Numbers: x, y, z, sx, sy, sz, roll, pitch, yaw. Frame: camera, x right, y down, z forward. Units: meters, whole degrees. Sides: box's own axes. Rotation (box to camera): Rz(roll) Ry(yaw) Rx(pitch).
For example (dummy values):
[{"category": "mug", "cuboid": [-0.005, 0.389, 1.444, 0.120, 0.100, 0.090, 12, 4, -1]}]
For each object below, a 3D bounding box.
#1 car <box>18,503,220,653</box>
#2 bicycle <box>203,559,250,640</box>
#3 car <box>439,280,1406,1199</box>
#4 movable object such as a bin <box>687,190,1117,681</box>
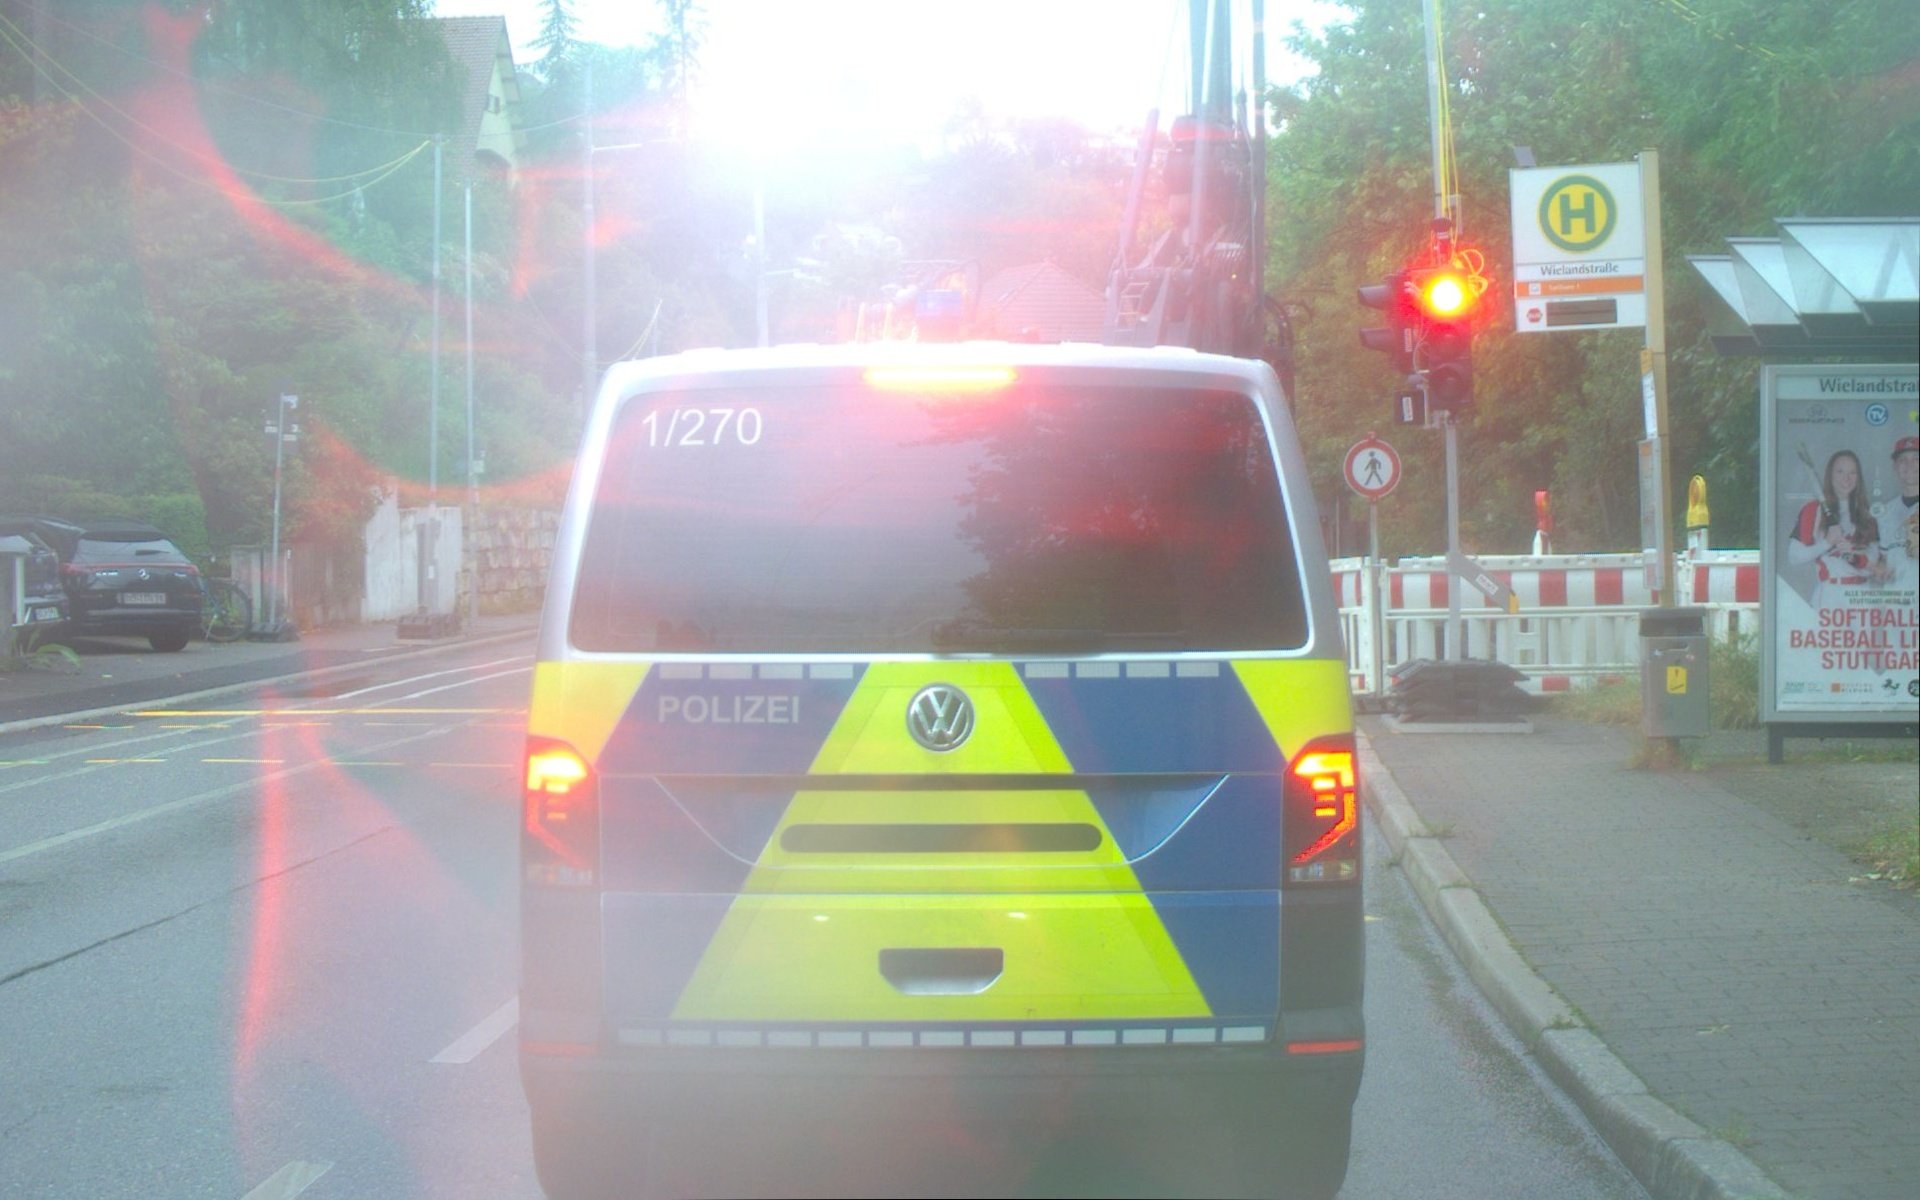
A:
[{"category": "car", "cuboid": [-9.330, -0.278, 37.965, 1.765, 1.481, 3.743, 1, 3, -20]}, {"category": "bicycle", "cuboid": [-8.448, -0.018, 39.582, 0.462, 0.894, 1.634, 0, 1, -15]}, {"category": "car", "cuboid": [-0.099, 0.359, 8.822, 1.893, 2.043, 4.000, 1, 1, -1]}, {"category": "movable object such as a bin", "cuboid": [-0.427, -1.457, 31.622, 2.832, 4.163, 4.378, 1, 1, 15]}]
